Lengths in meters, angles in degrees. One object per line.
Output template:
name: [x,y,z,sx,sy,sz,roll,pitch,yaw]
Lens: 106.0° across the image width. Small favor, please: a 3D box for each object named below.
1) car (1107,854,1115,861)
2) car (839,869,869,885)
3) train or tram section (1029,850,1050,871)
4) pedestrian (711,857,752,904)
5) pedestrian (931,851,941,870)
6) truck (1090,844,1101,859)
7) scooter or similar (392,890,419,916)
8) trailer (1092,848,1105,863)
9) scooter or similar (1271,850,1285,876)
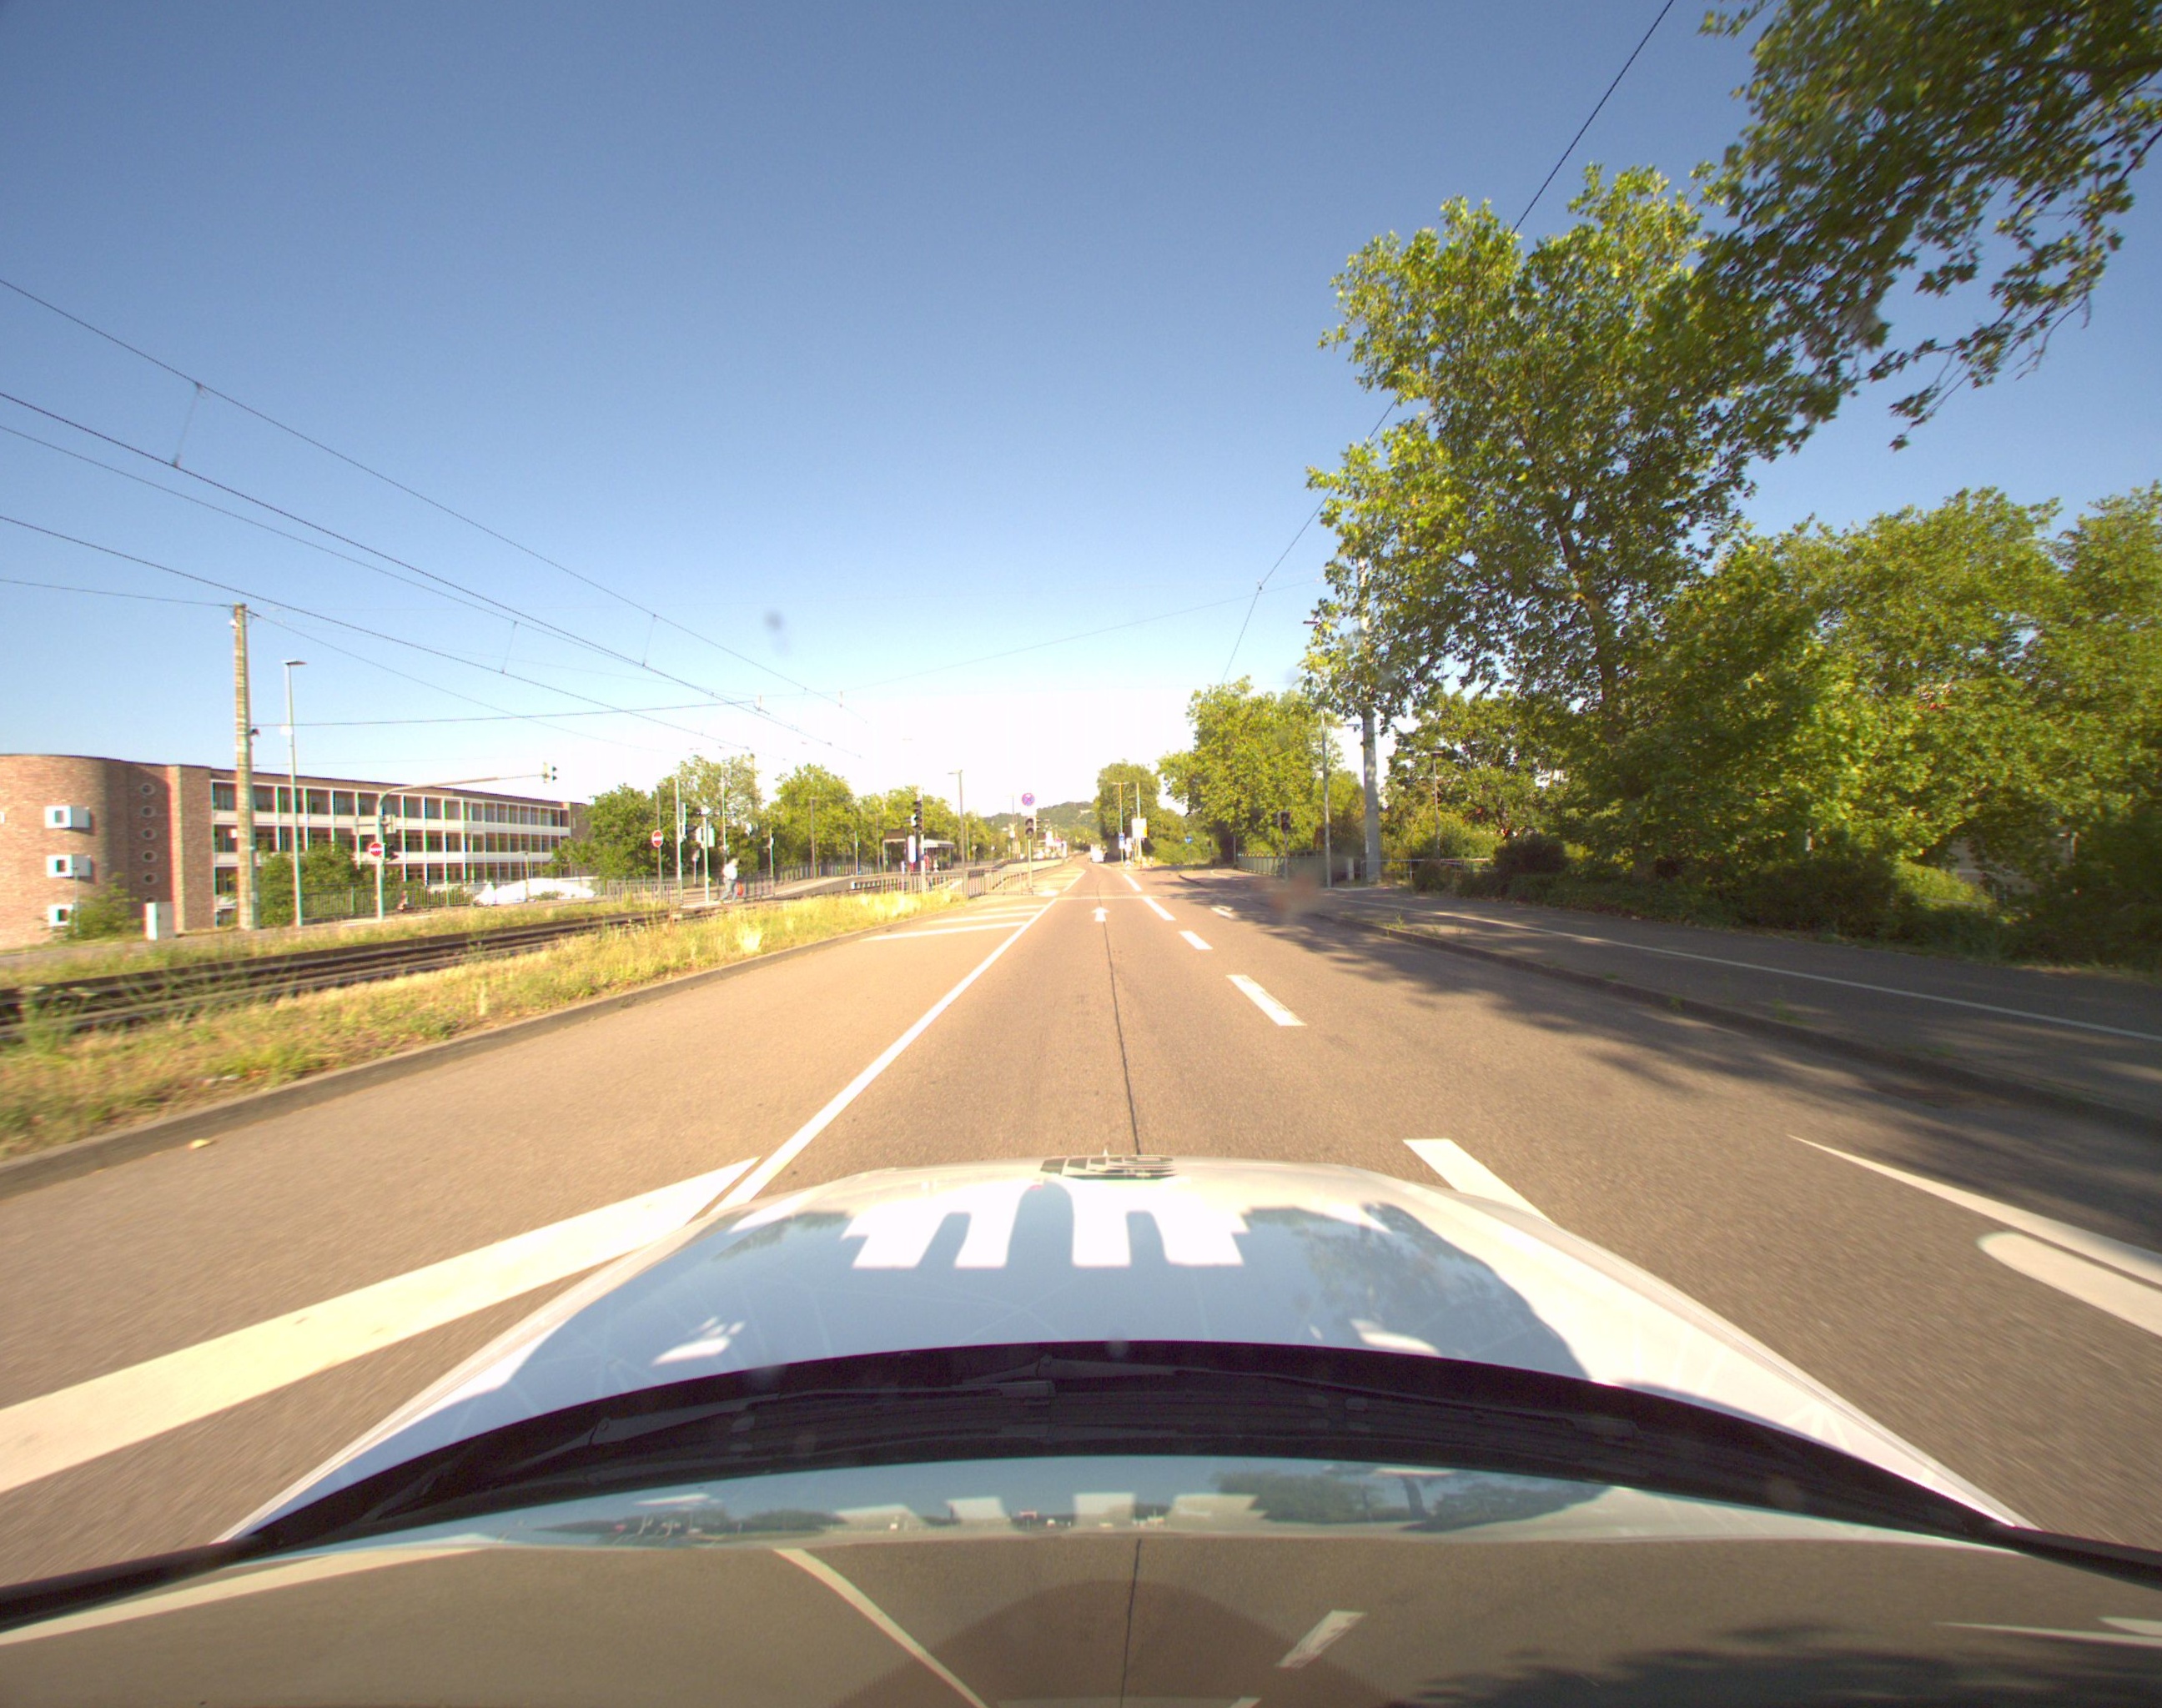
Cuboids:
car: [6.838,0.724,184.346,1.646,1.437,3.779,-2,0,2]
car: [-22.476,2.268,80.785,1.726,1.446,4.001,-2,0,2]
train or tram section: [-8.286,1.234,164.895,2.817,4.006,15.880,-1,0,2]
pedestrian: [-12.583,0.950,29.341,0.881,1.645,0.992,-2,0,24]
pedestrian: [-13.657,0.628,76.553,0.692,1.757,0.592,-2,-1,37]
truck: [3.555,-0.674,203.302,2.733,3.783,10.089,0,0,0]
scooter or similar: [-30.003,2.158,36.177,0.403,1.095,1.131,-2,0,-10]
trailer: [3.427,0.233,155.584,2.241,2.694,5.953,-1,0,4]
scooter or similar: [9.841,0.462,40.786,0.425,1.275,1.083,-2,0,1]
